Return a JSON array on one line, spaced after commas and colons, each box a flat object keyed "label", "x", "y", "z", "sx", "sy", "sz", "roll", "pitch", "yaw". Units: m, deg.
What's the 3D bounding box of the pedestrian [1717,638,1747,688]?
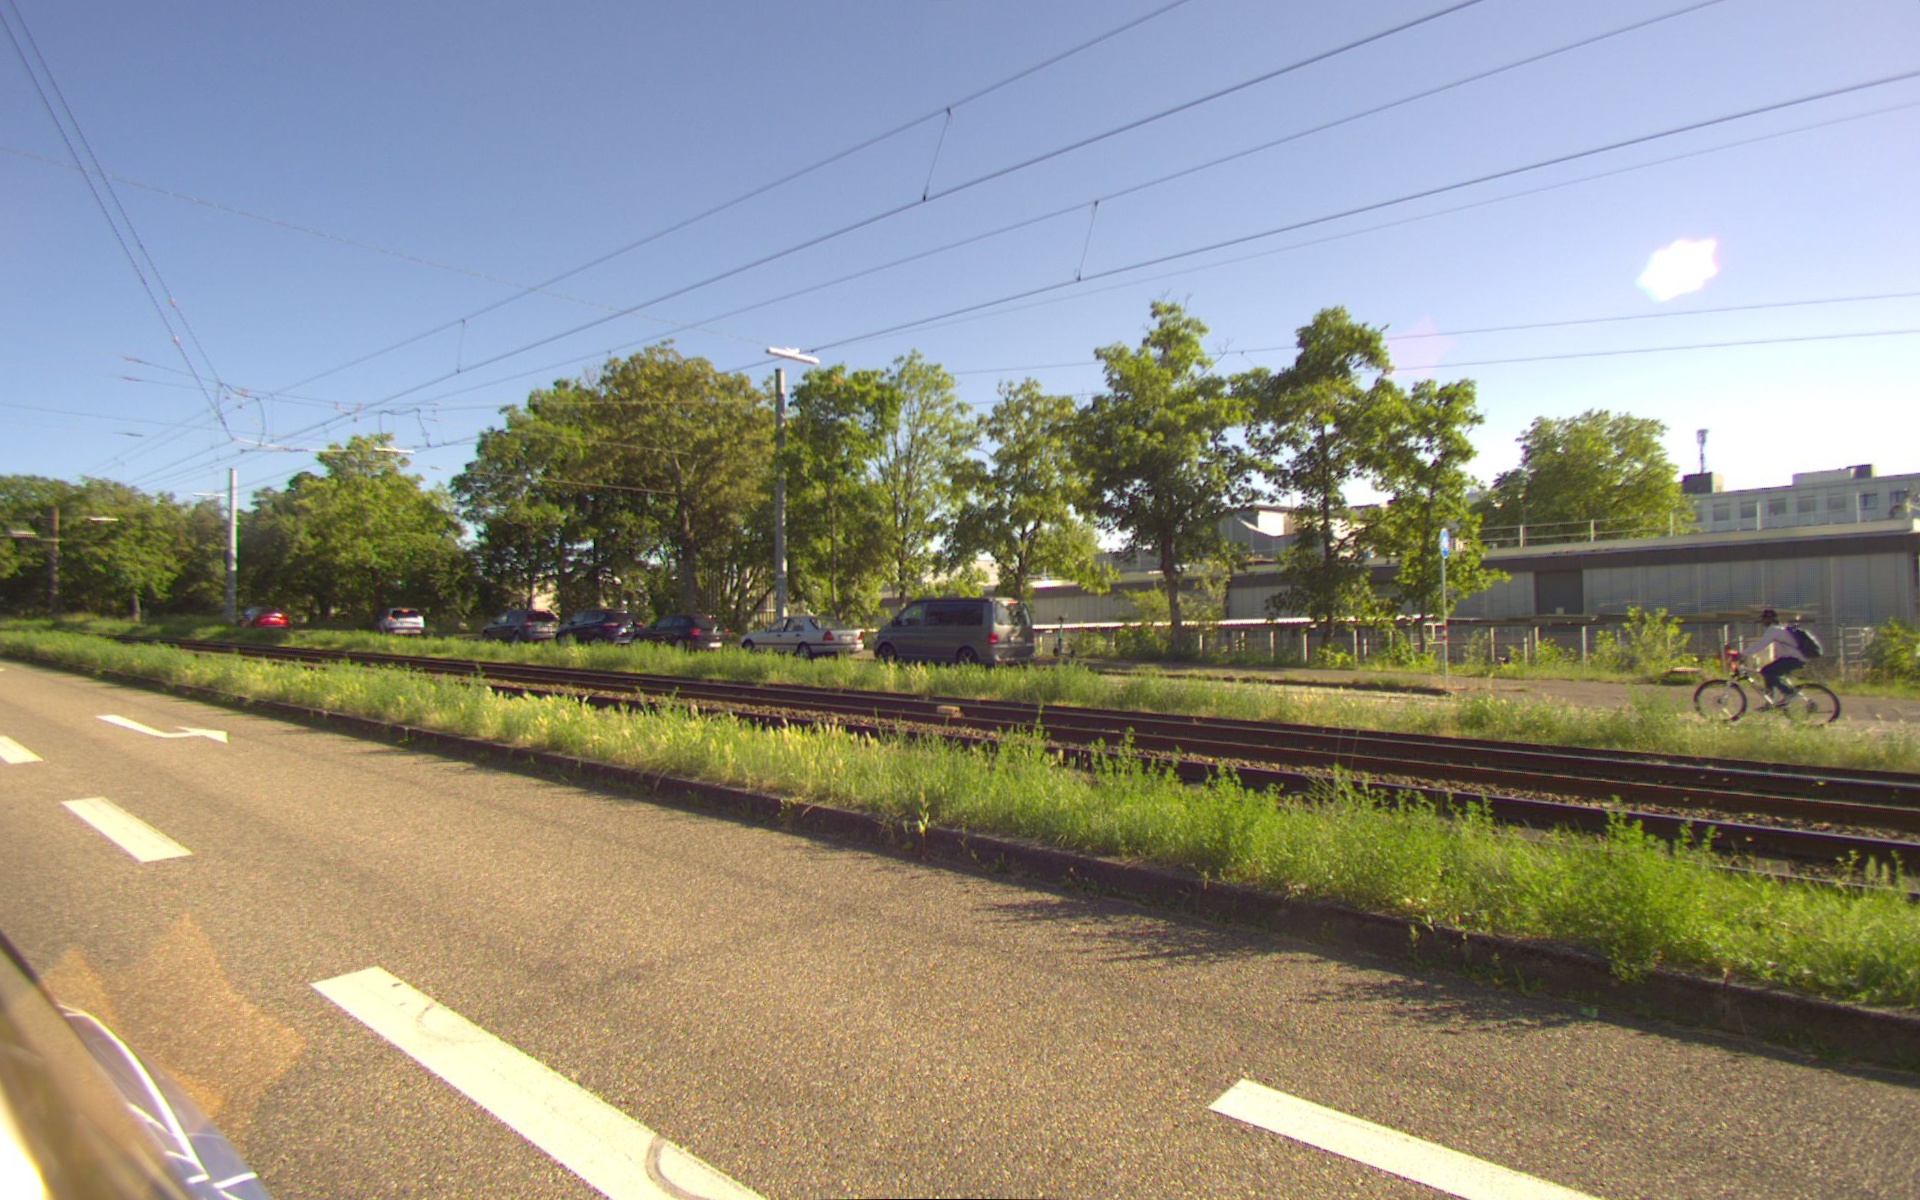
[{"label": "pedestrian", "x": 20.869, "y": 1.695, "z": 27.364, "sx": 0.435, "sy": 1.310, "sz": 0.441, "roll": -1, "pitch": -2, "yaw": -1}]

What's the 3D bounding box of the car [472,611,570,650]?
[{"label": "car", "x": -18.942, "y": 1.300, "z": 43.572, "sx": 4.557, "sy": 1.575, "sz": 2.103, "roll": -1, "pitch": -1, "yaw": 41}]

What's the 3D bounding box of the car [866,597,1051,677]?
[{"label": "car", "x": -0.108, "y": 0.947, "z": 27.018, "sx": 4.684, "sy": 1.949, "sz": 2.178, "roll": -1, "pitch": -1, "yaw": 42}]

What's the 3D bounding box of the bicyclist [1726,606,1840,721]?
[{"label": "bicyclist", "x": 12.025, "y": 0.892, "z": 14.802, "sx": 1.236, "sy": 1.605, "sz": 0.794, "roll": -1, "pitch": -1, "yaw": 42}]

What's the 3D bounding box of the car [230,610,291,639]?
[{"label": "car", "x": -45.159, "y": 1.572, "z": 65.278, "sx": 4.797, "sy": 1.746, "sz": 2.290, "roll": -1, "pitch": -1, "yaw": 43}]

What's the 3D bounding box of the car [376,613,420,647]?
[{"label": "car", "x": -28.050, "y": 1.467, "z": 50.499, "sx": 1.829, "sy": 1.569, "sz": 4.169, "roll": 0, "pitch": -1, "yaw": -29}]

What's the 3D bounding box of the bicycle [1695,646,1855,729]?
[{"label": "bicycle", "x": 11.946, "y": 1.250, "z": 14.874, "sx": 1.781, "sy": 1.110, "sz": 0.689, "roll": -1, "pitch": -1, "yaw": 42}]

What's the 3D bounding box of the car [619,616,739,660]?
[{"label": "car", "x": -9.911, "y": 1.304, "z": 35.551, "sx": 4.486, "sy": 1.437, "sz": 1.935, "roll": -1, "pitch": -1, "yaw": 42}]

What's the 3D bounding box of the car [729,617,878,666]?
[{"label": "car", "x": -4.929, "y": 1.245, "z": 31.548, "sx": 4.612, "sy": 1.391, "sz": 2.103, "roll": -1, "pitch": -1, "yaw": 40}]

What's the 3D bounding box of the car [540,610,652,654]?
[{"label": "car", "x": -14.108, "y": 1.224, "z": 39.100, "sx": 4.614, "sy": 1.599, "sz": 2.102, "roll": -1, "pitch": -1, "yaw": 41}]
